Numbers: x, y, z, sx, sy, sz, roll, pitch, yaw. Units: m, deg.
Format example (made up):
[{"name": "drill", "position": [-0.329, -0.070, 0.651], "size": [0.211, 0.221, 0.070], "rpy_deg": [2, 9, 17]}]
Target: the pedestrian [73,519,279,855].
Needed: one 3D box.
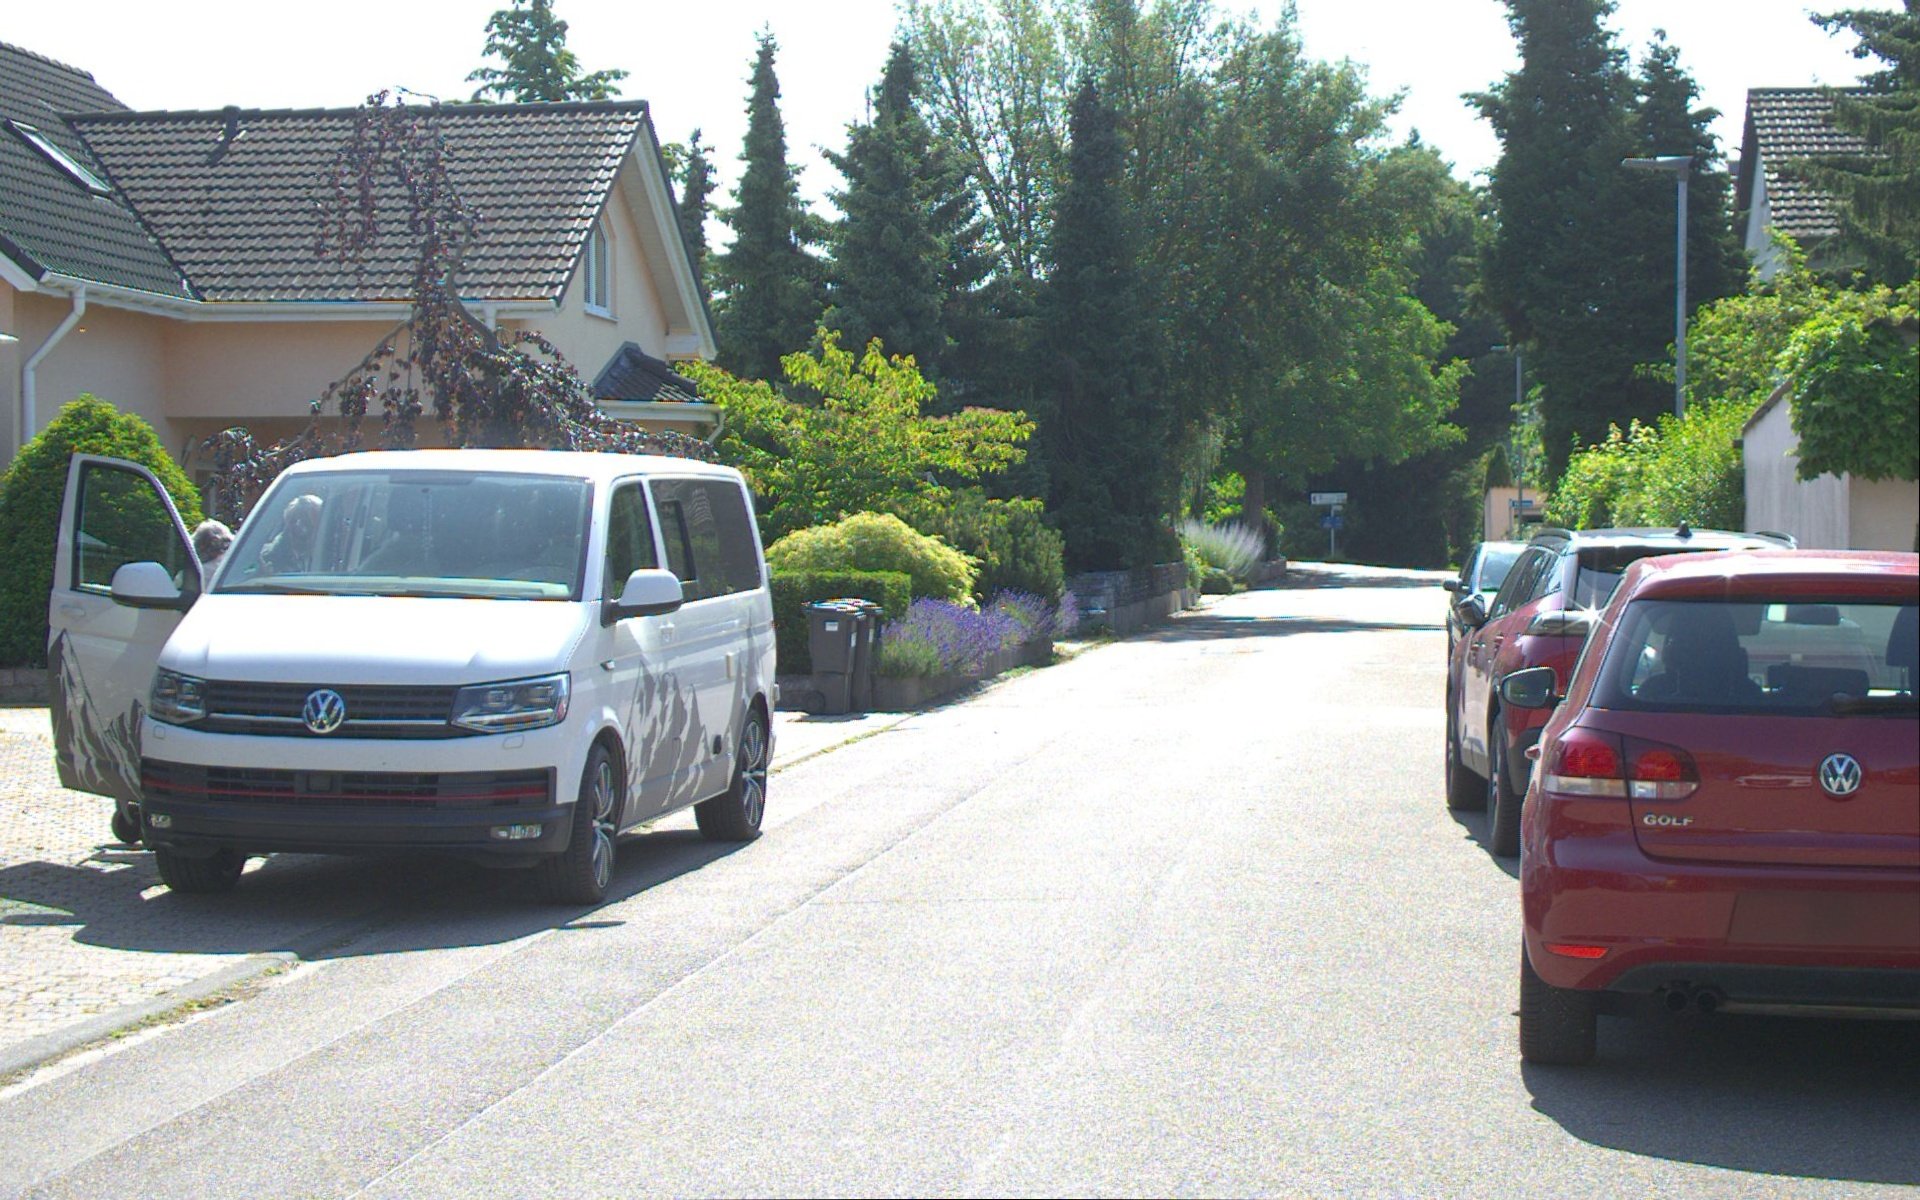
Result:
[{"name": "pedestrian", "position": [-3.693, 0.387, 16.193], "size": [0.719, 1.533, 0.640], "rpy_deg": [1, 2, 41]}]

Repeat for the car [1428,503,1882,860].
[{"name": "car", "position": [3.443, 0.336, 17.703], "size": [1.823, 1.610, 3.999], "rpy_deg": [1, 1, 5]}]

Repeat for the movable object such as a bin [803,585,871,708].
[{"name": "movable object such as a bin", "position": [-1.039, 0.394, 29.108], "size": [0.494, 1.021, 0.447], "rpy_deg": [-1, 1, 8]}]

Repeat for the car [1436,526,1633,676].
[{"name": "car", "position": [5.695, -0.023, 34.450], "size": [1.703, 1.395, 3.999], "rpy_deg": [1, 1, 6]}]

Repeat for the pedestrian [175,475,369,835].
[{"name": "pedestrian", "position": [-3.391, 0.252, 16.956], "size": [0.691, 1.725, 0.640], "rpy_deg": [1, 2, 38]}]

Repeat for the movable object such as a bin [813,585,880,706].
[{"name": "movable object such as a bin", "position": [-0.978, 0.387, 29.566], "size": [0.494, 1.021, 0.447], "rpy_deg": [-1, 1, 8]}]

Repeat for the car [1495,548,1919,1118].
[{"name": "car", "position": [2.699, 0.592, 11.033], "size": [1.776, 1.474, 3.998], "rpy_deg": [1, 1, 11]}]

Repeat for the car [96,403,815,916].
[{"name": "car", "position": [-2.111, 0.174, 16.010], "size": [1.929, 2.007, 4.894], "rpy_deg": [0, 1, 9]}]
